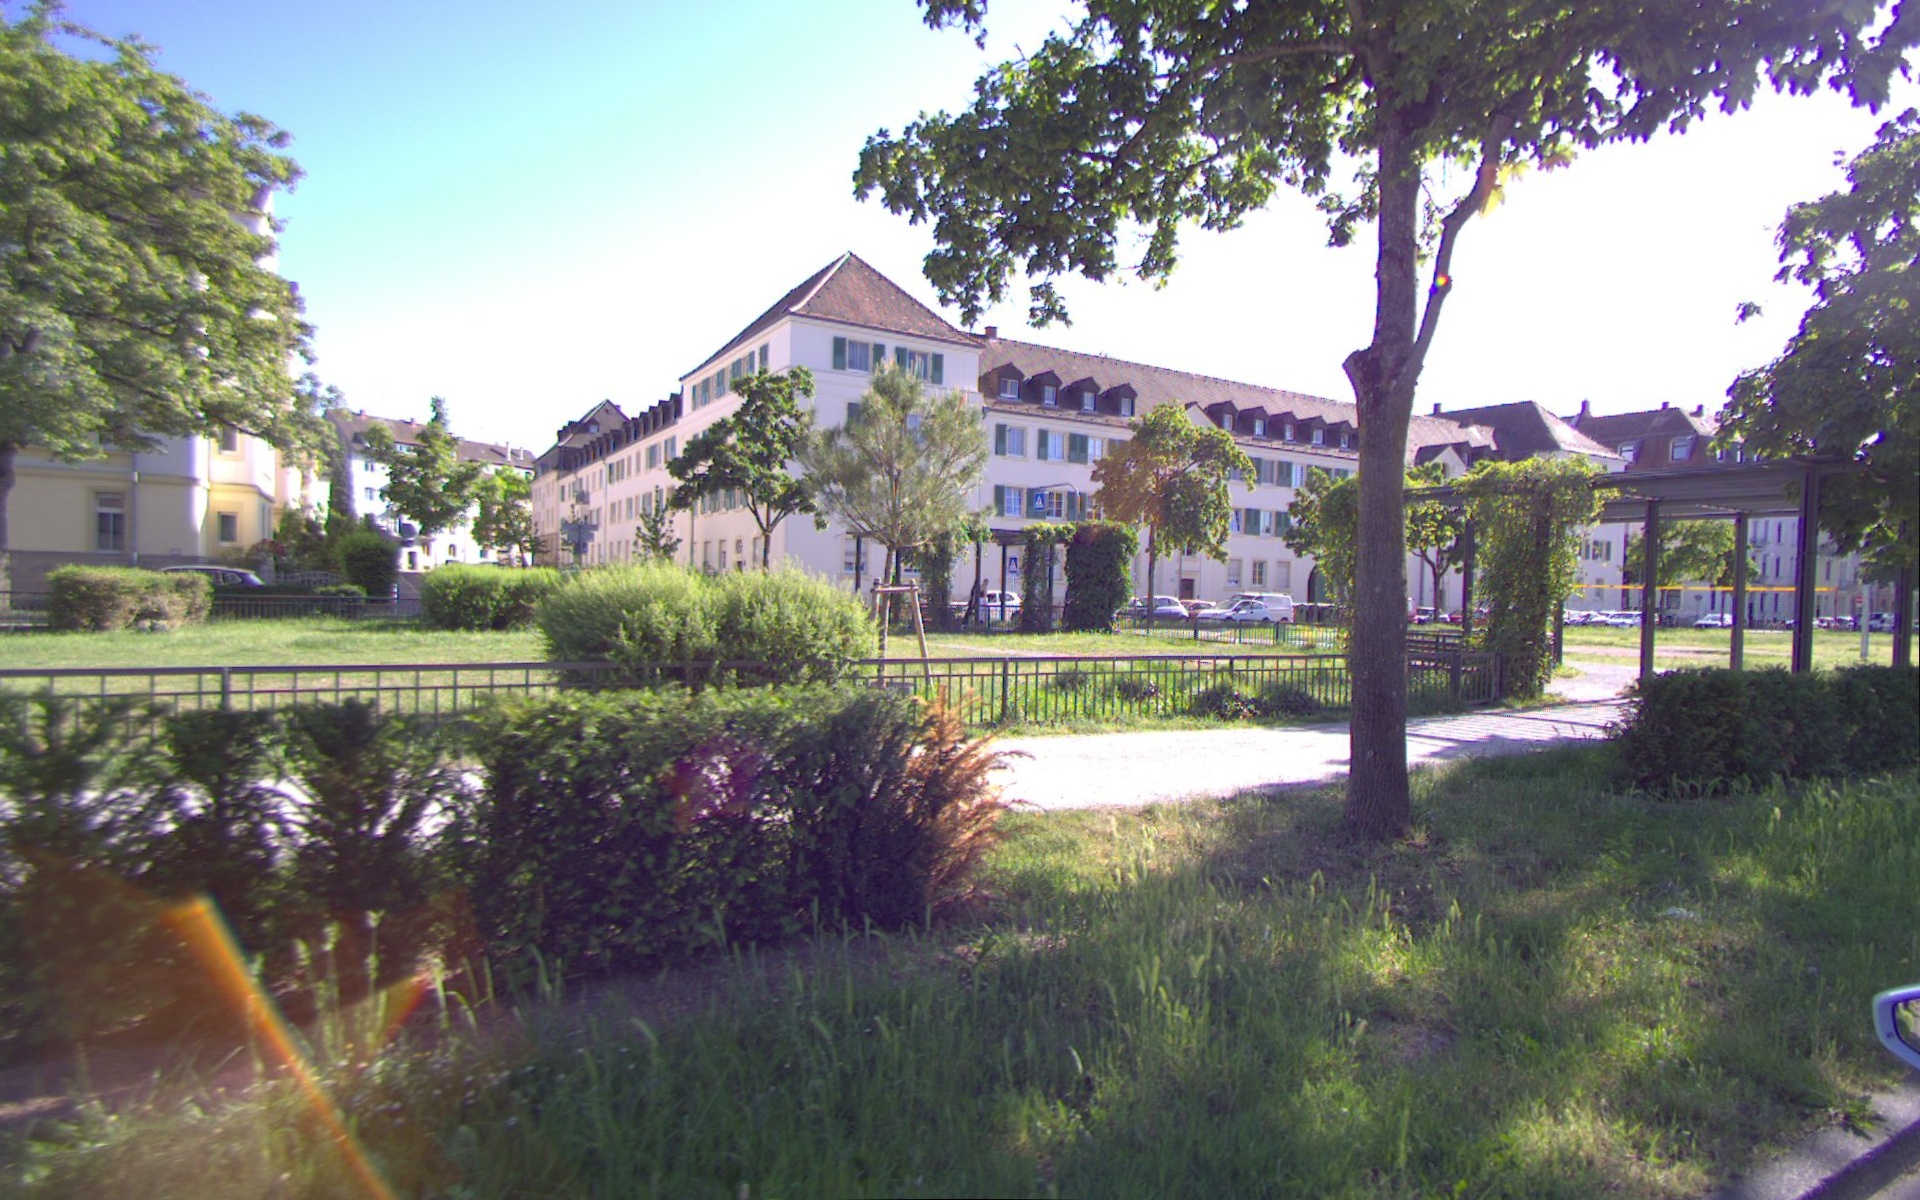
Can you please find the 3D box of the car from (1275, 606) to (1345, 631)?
[{"bbox_3d":[20.780,1.123,59.580,3.953,1.403,1.785,1,1,-30],"label":"car"}]

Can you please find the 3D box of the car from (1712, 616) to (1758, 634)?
[{"bbox_3d":[68.513,2.224,88.783,3.953,1.530,1.785,1,1,-30],"label":"car"}]

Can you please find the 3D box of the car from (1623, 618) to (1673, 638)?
[{"bbox_3d":[55.401,2.234,80.875,3.953,1.530,1.785,1,1,-30],"label":"car"}]

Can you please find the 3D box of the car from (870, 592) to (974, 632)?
[{"bbox_3d":[-1.570,0.503,41.722,3.953,1.530,1.785,1,1,-30],"label":"car"}]

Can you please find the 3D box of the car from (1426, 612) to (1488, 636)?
[{"bbox_3d":[33.321,1.587,67.318,3.953,1.530,1.785,1,1,-30],"label":"car"}]

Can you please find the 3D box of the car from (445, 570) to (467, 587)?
[{"bbox_3d":[-49.758,-2.111,99.089,1.778,1.530,3.970,1,1,-28],"label":"car"}]

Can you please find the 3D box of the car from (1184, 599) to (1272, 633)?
[{"bbox_3d":[12.705,0.762,47.567,3.953,1.530,1.785,1,1,-30],"label":"car"}]

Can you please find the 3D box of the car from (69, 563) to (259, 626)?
[{"bbox_3d":[-24.487,-0.147,31.142,4.407,1.840,1.784,1,1,-32],"label":"car"}]

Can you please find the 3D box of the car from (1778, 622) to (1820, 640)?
[{"bbox_3d":[78.732,2.913,94.216,3.954,1.530,1.785,1,1,-31],"label":"car"}]

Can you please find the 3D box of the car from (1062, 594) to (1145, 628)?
[{"bbox_3d":[7.264,0.562,50.756,3.956,1.633,1.784,1,1,-32],"label":"car"}]

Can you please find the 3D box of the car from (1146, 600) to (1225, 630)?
[{"bbox_3d":[12.015,0.799,53.422,3.953,1.530,1.785,1,1,-30],"label":"car"}]

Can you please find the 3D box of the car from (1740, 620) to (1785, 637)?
[{"bbox_3d":[73.061,2.589,91.456,4.095,1.530,1.785,1,1,-30],"label":"car"}]

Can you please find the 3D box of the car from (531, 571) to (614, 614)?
[{"bbox_3d":[-16.025,-0.312,41.419,1.788,1.674,3.947,1,1,-44],"label":"car"}]

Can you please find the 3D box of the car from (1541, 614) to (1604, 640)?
[{"bbox_3d":[39.143,1.718,64.196,3.953,1.530,1.785,1,1,-30],"label":"car"}]

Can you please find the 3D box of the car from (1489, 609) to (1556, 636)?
[{"bbox_3d":[34.592,1.393,61.758,3.953,1.530,1.785,1,1,-30],"label":"car"}]

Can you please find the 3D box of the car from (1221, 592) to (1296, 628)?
[{"bbox_3d":[16.734,0.567,56.329,3.953,1.935,1.785,1,1,-30],"label":"car"}]

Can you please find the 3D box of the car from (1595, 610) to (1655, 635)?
[{"bbox_3d":[44.199,1.485,66.746,3.953,1.530,1.785,1,1,-30],"label":"car"}]

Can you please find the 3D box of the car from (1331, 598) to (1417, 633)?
[{"bbox_3d":[22.065,0.822,53.462,4.647,1.733,1.785,1,1,-30],"label":"car"}]

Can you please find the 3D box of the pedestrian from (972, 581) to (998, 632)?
[{"bbox_3d":[0.861,0.210,34.419,0.642,1.721,0.645,1,0,-30],"label":"pedestrian"}]

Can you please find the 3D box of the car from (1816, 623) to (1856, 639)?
[{"bbox_3d":[86.845,3.088,99.575,3.953,1.530,1.785,1,1,-30],"label":"car"}]

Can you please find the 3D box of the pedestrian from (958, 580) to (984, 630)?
[{"bbox_3d":[0.394,0.179,35.081,0.642,1.721,0.645,1,0,-30],"label":"pedestrian"}]
